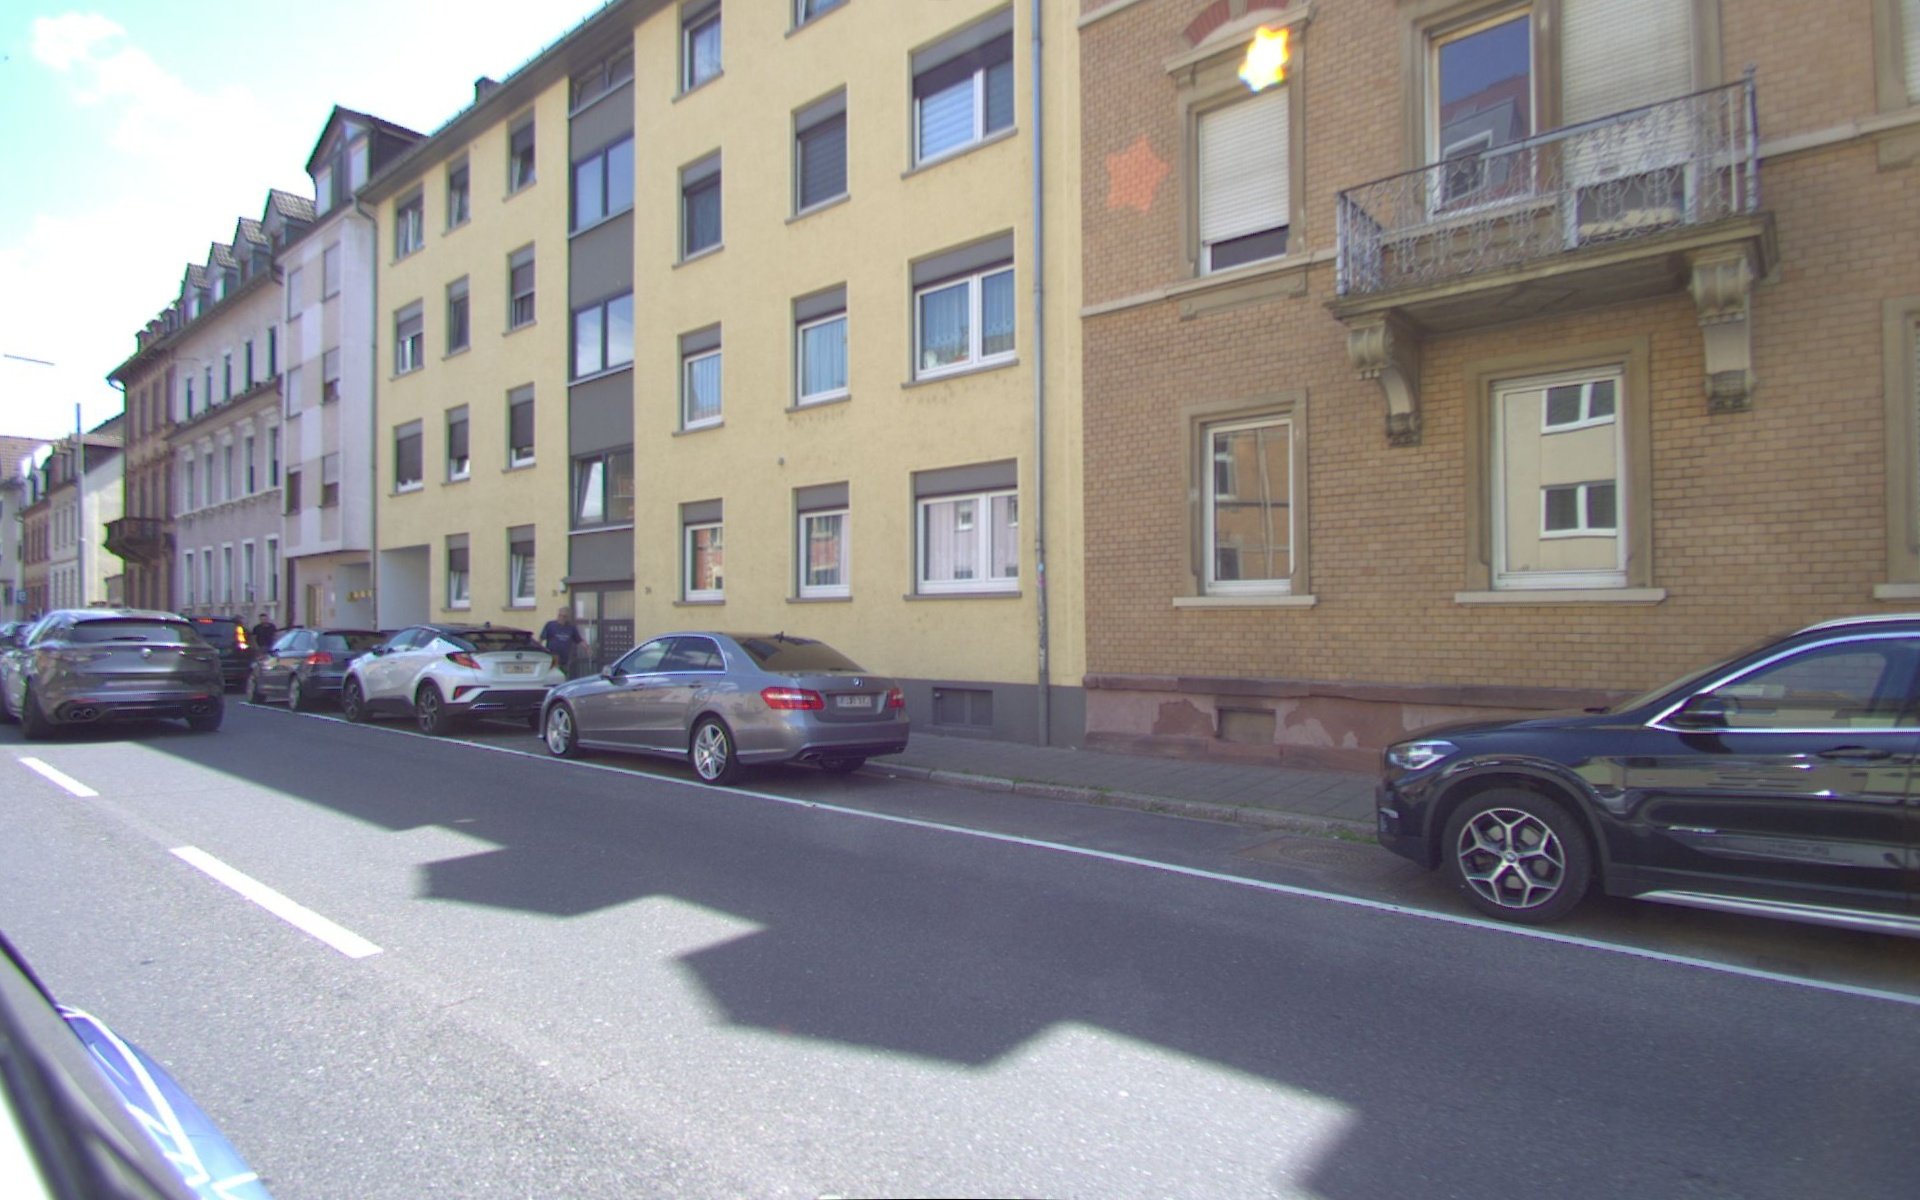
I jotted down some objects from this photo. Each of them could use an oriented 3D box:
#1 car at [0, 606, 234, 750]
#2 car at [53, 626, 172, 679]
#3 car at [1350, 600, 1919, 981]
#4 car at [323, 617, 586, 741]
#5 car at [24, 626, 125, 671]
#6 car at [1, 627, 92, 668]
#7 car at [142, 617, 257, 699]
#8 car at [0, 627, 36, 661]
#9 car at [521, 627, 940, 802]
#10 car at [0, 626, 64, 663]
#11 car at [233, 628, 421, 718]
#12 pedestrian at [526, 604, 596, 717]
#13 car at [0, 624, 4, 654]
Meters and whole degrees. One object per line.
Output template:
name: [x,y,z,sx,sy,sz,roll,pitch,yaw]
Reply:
car: [-11.638,0.952,13.647,4.442,1.623,1.889,-1,-3,39]
car: [-25.190,1.539,30.033,4.507,1.422,1.728,-1,-5,38]
car: [4.489,0.846,4.940,4.495,1.563,1.846,-1,-5,39]
car: [-7.542,1.106,14.932,4.310,1.563,1.846,-1,-5,40]
car: [-29.965,1.632,34.217,4.098,1.422,1.728,-1,-5,37]
car: [-34.218,1.750,37.880,4.098,1.422,1.728,-1,-5,37]
car: [-16.522,1.258,22.145,1.721,1.600,3.963,4,-5,-34]
car: [-42.837,1.921,45.041,4.098,1.422,1.728,-1,-5,37]
car: [-2.601,1.070,10.771,4.683,1.463,1.885,-1,-5,41]
car: [-38.409,1.807,41.438,4.098,1.422,1.728,-1,-5,37]
car: [-11.388,1.263,18.120,3.913,1.422,1.726,-1,-5,41]
pedestrian: [-6.506,0.966,16.490,0.793,1.769,0.877,1,-2,-42]
car: [-47.985,1.856,49.094,4.098,1.422,1.645,-1,-5,37]
